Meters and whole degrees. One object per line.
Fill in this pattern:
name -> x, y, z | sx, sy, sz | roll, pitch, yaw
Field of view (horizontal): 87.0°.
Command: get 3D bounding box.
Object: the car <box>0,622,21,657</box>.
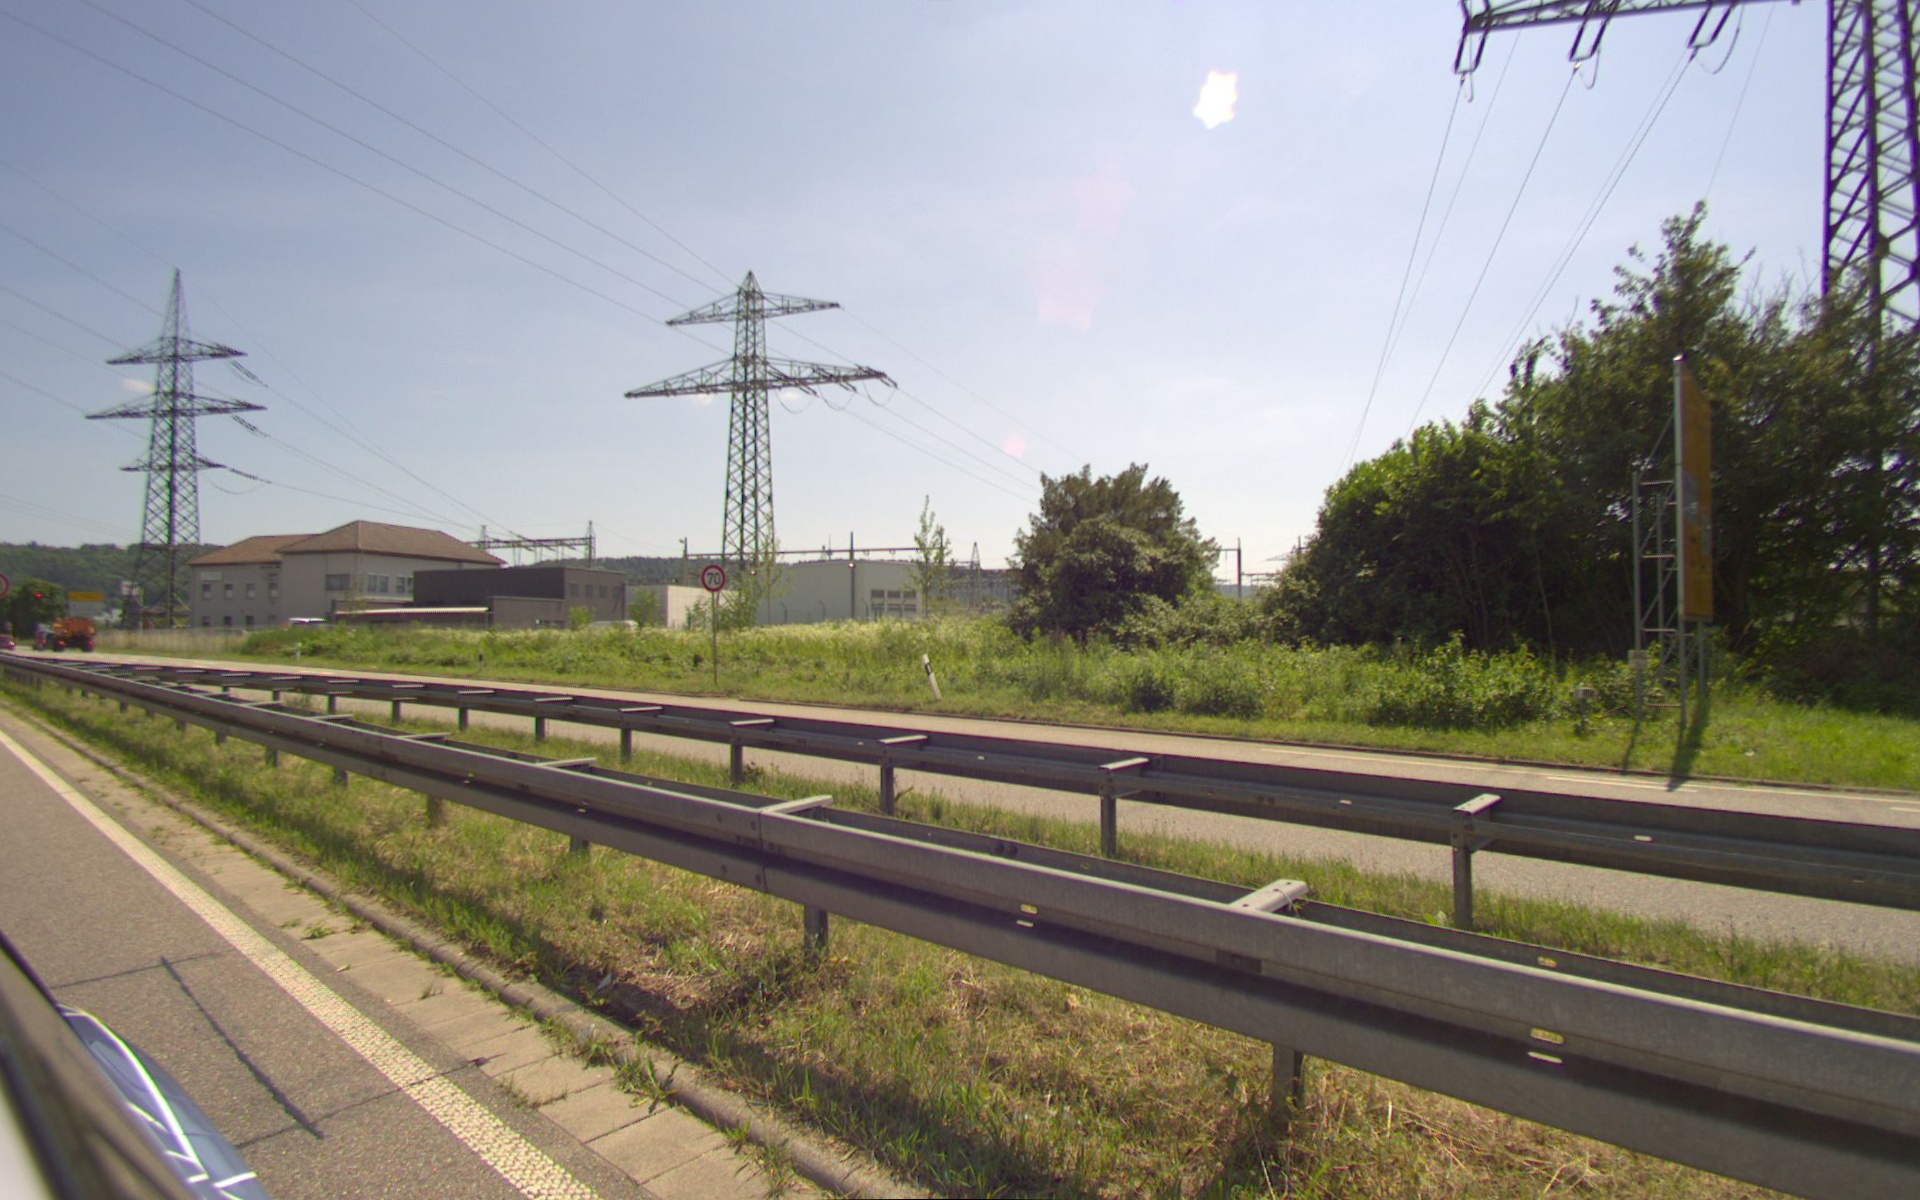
car -> -88.313, 3.602, 92.904 | 5.637, 3.084, 2.572 | -2, -3, 42

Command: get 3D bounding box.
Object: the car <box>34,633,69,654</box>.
car -> -89.585, 4.239, 99.743 | 3.995, 1.929, 1.974 | -1, 0, 39

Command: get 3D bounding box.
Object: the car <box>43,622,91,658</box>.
car -> -80.605, 3.607, 91.305 | 5.637, 3.084, 2.572 | -2, -3, 42
